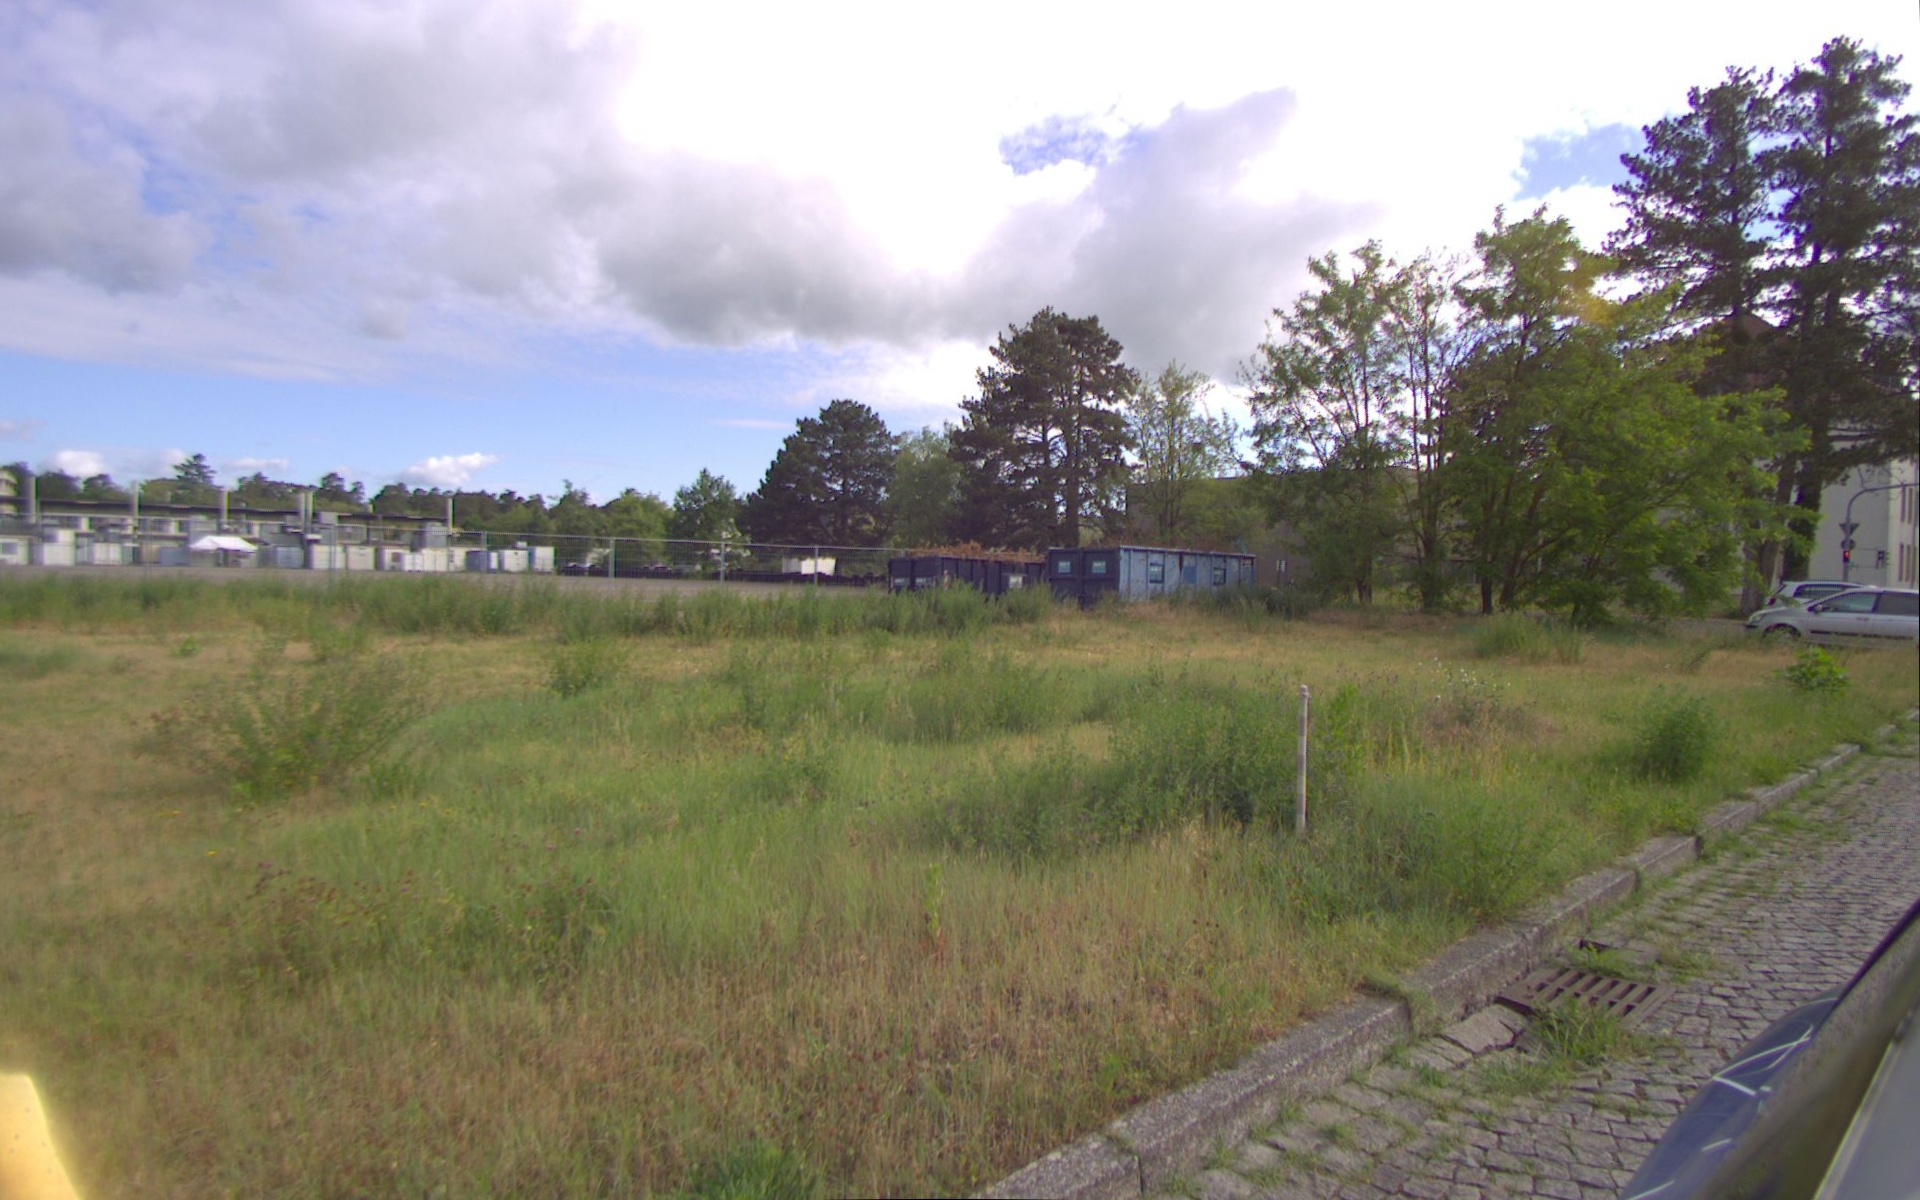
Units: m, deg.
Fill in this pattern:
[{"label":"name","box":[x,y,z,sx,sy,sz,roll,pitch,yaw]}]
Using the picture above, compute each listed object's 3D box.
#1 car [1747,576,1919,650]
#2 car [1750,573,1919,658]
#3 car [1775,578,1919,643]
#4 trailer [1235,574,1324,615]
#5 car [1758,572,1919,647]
[{"label":"car","box":[20.864,0.319,22.996,1.765,1.423,4.376,1,4,-41]},{"label":"car","box":[19.025,0.335,21.054,1.713,1.497,3.779,1,4,-43]},{"label":"car","box":[24.552,0.298,26.649,1.796,1.442,4.558,-1,5,-43]},{"label":"trailer","box":[9.635,-0.196,30.596,1.124,1.184,2.316,-1,1,-41]},{"label":"car","box":[22.629,0.234,25.003,1.798,1.593,4.334,-1,5,-45]}]
